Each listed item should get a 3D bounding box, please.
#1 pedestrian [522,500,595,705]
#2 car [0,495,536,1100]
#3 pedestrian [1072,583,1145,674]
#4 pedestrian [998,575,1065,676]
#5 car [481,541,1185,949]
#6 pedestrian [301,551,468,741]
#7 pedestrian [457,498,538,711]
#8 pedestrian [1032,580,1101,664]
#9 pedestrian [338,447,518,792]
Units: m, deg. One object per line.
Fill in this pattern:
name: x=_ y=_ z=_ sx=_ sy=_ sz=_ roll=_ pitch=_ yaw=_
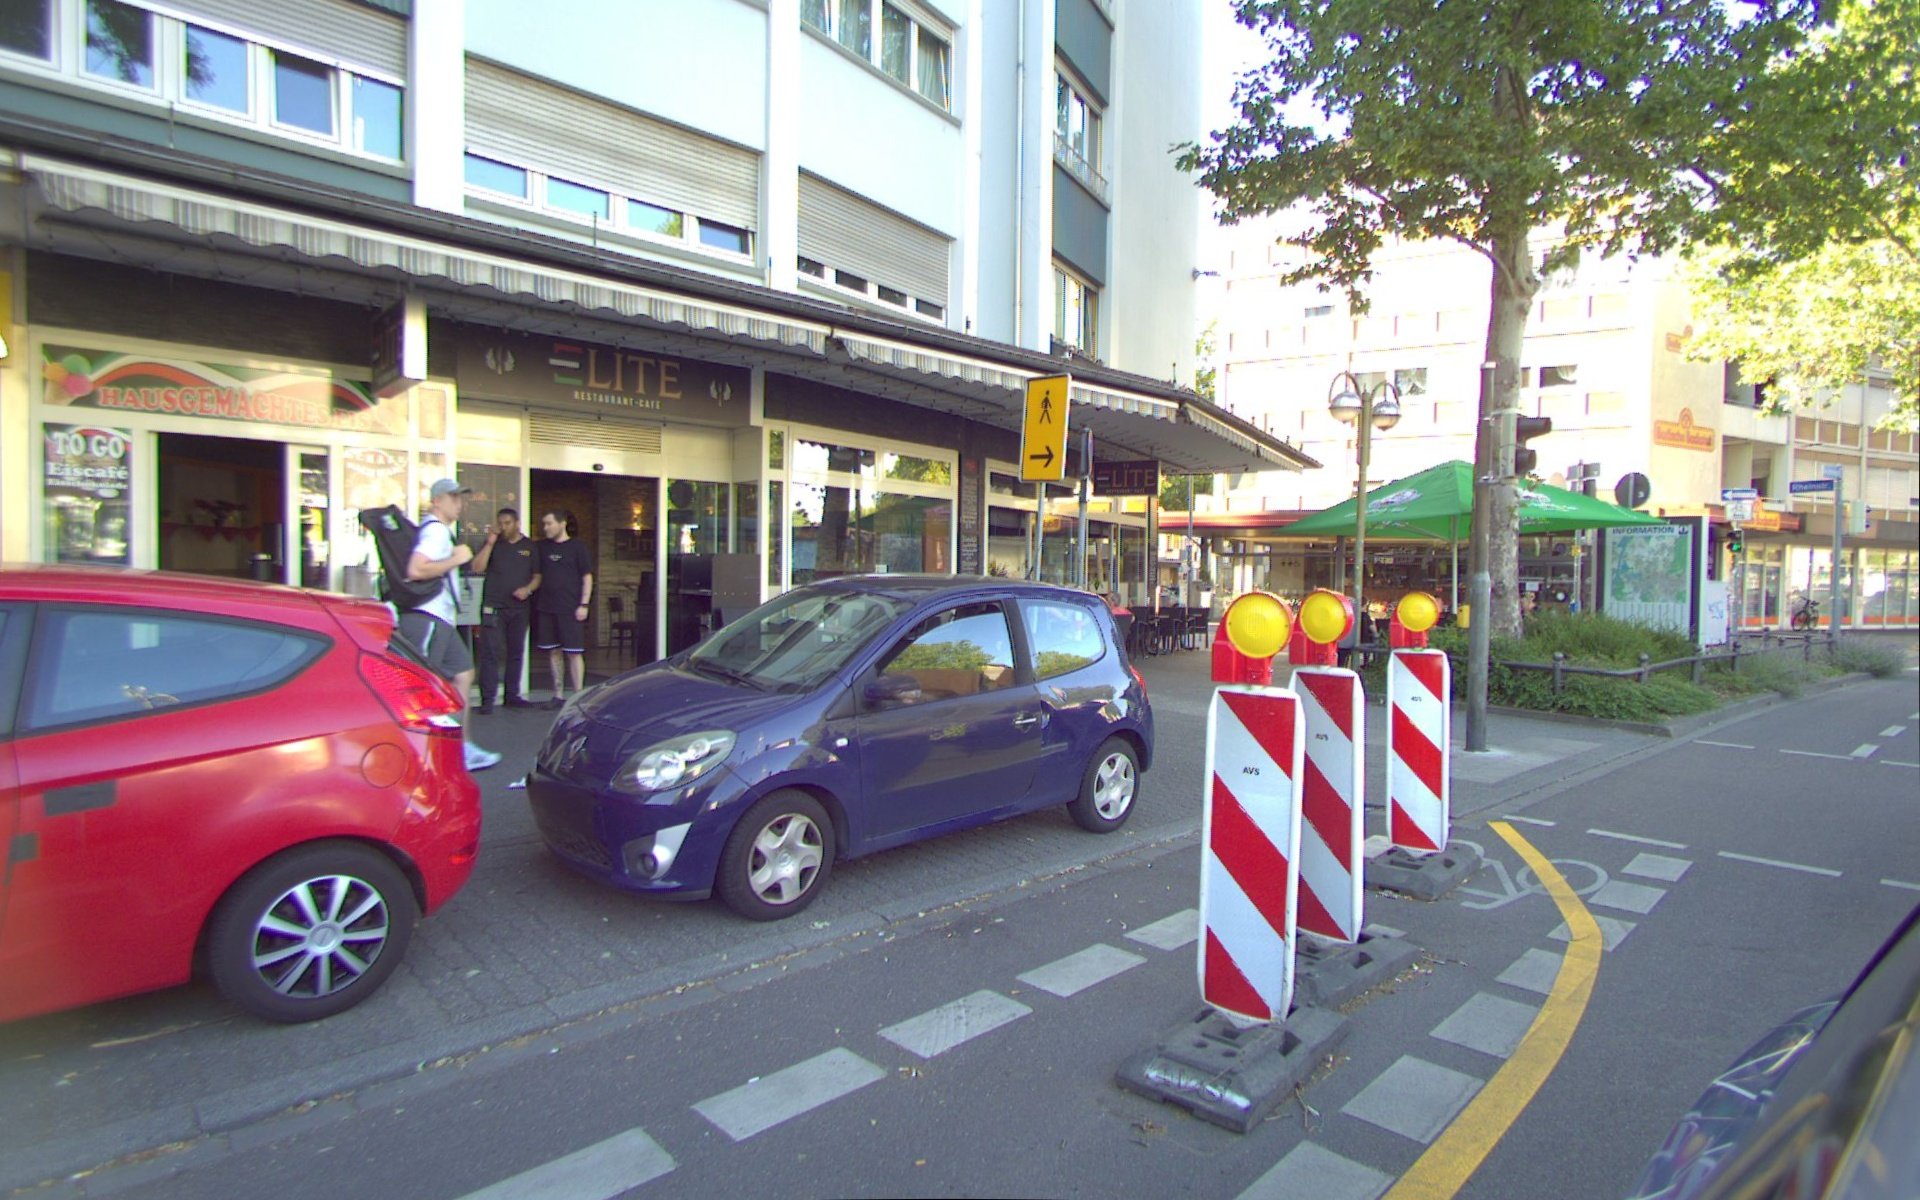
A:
pedestrian: x=-3.612 y=0.018 z=9.125 sx=0.545 sy=1.803 sz=0.397 roll=1 pitch=3 yaw=-11
car: x=-3.510 y=0.476 z=2.997 sx=3.761 sy=1.614 sz=1.784 roll=-1 pitch=5 yaw=-45
pedestrian: x=2.075 y=0.382 z=14.219 sx=0.685 sy=1.207 sz=0.881 roll=0 pitch=1 yaw=-18
pedestrian: x=0.965 y=0.326 z=13.807 sx=0.685 sy=1.323 sz=0.793 roll=1 pitch=1 yaw=-13
car: x=-0.527 y=0.501 z=5.701 sx=3.551 sy=1.485 sz=1.769 roll=-1 pitch=5 yaw=-44
pedestrian: x=-4.503 y=0.308 z=7.904 sx=0.937 sy=1.352 sz=1.069 roll=0 pitch=2 yaw=-42
pedestrian: x=-4.061 y=0.025 z=8.887 sx=0.547 sy=1.800 sz=0.395 roll=-1 pitch=4 yaw=-43
pedestrian: x=1.591 y=0.312 z=15.112 sx=0.776 sy=1.207 sz=0.648 roll=0 pitch=1 yaw=-34
pedestrian: x=-3.340 y=0.100 z=6.358 sx=0.874 sy=1.983 sz=0.648 roll=0 pitch=2 yaw=-41
